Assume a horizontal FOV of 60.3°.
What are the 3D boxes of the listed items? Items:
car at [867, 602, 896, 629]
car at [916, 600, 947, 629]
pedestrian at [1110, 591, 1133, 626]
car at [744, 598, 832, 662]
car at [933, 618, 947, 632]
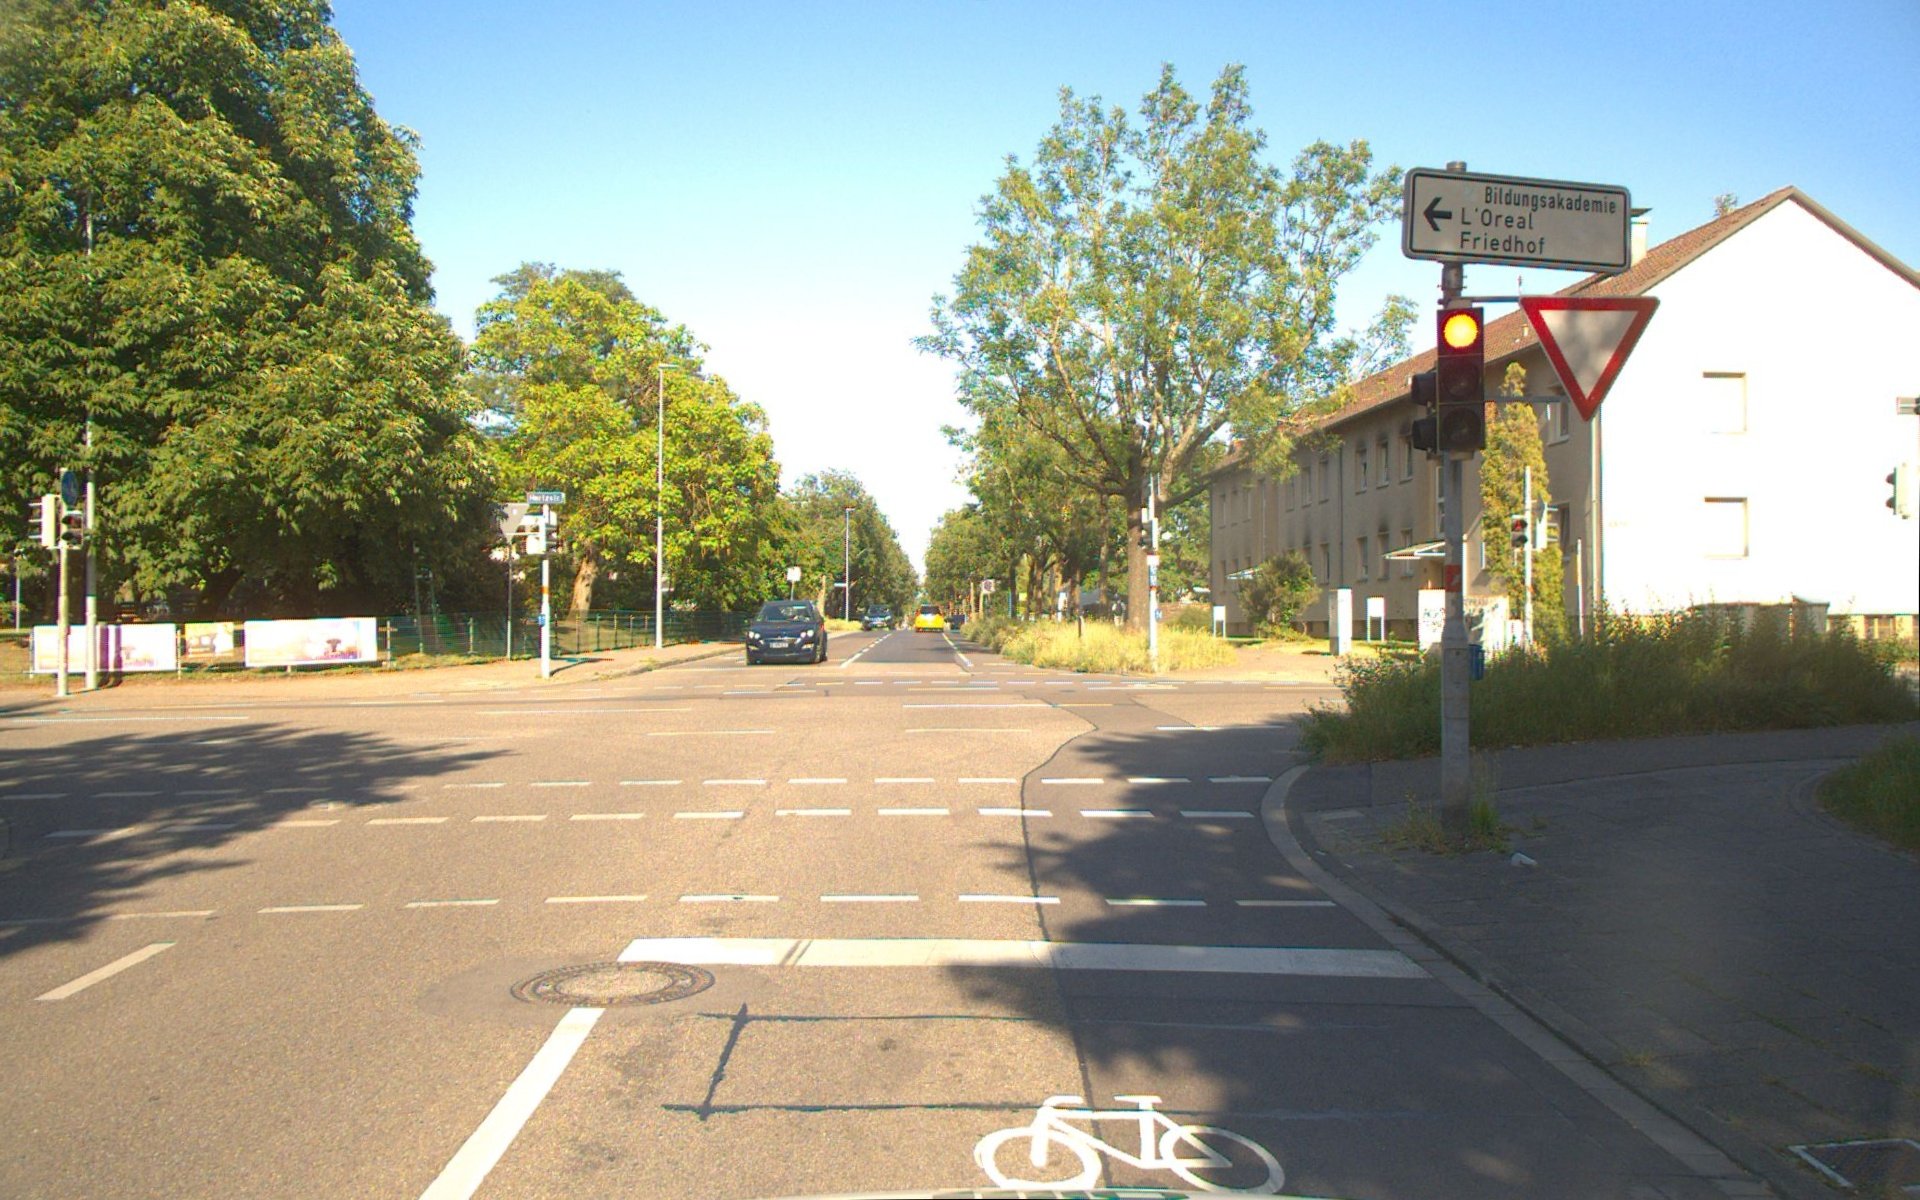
[{"bbox_3d":[-4.984,0.992,105.461,1.722,1.653,3.268,0,0,0],"label":"car"},{"bbox_3d":[-1.640,0.829,96.536,1.716,1.610,3.999,1,0,-1],"label":"car"},{"bbox_3d":[7.105,0.379,72.797,0.825,1.519,0.924,2,0,-1],"label":"pedestrian"},{"bbox_3d":[-3.959,0.665,38.552,1.676,1.410,3.471,0,0,0],"label":"car"},{"bbox_3d":[-2.650,3.338,219.155,1.737,1.785,3.999,1,0,-1],"label":"car"}]
